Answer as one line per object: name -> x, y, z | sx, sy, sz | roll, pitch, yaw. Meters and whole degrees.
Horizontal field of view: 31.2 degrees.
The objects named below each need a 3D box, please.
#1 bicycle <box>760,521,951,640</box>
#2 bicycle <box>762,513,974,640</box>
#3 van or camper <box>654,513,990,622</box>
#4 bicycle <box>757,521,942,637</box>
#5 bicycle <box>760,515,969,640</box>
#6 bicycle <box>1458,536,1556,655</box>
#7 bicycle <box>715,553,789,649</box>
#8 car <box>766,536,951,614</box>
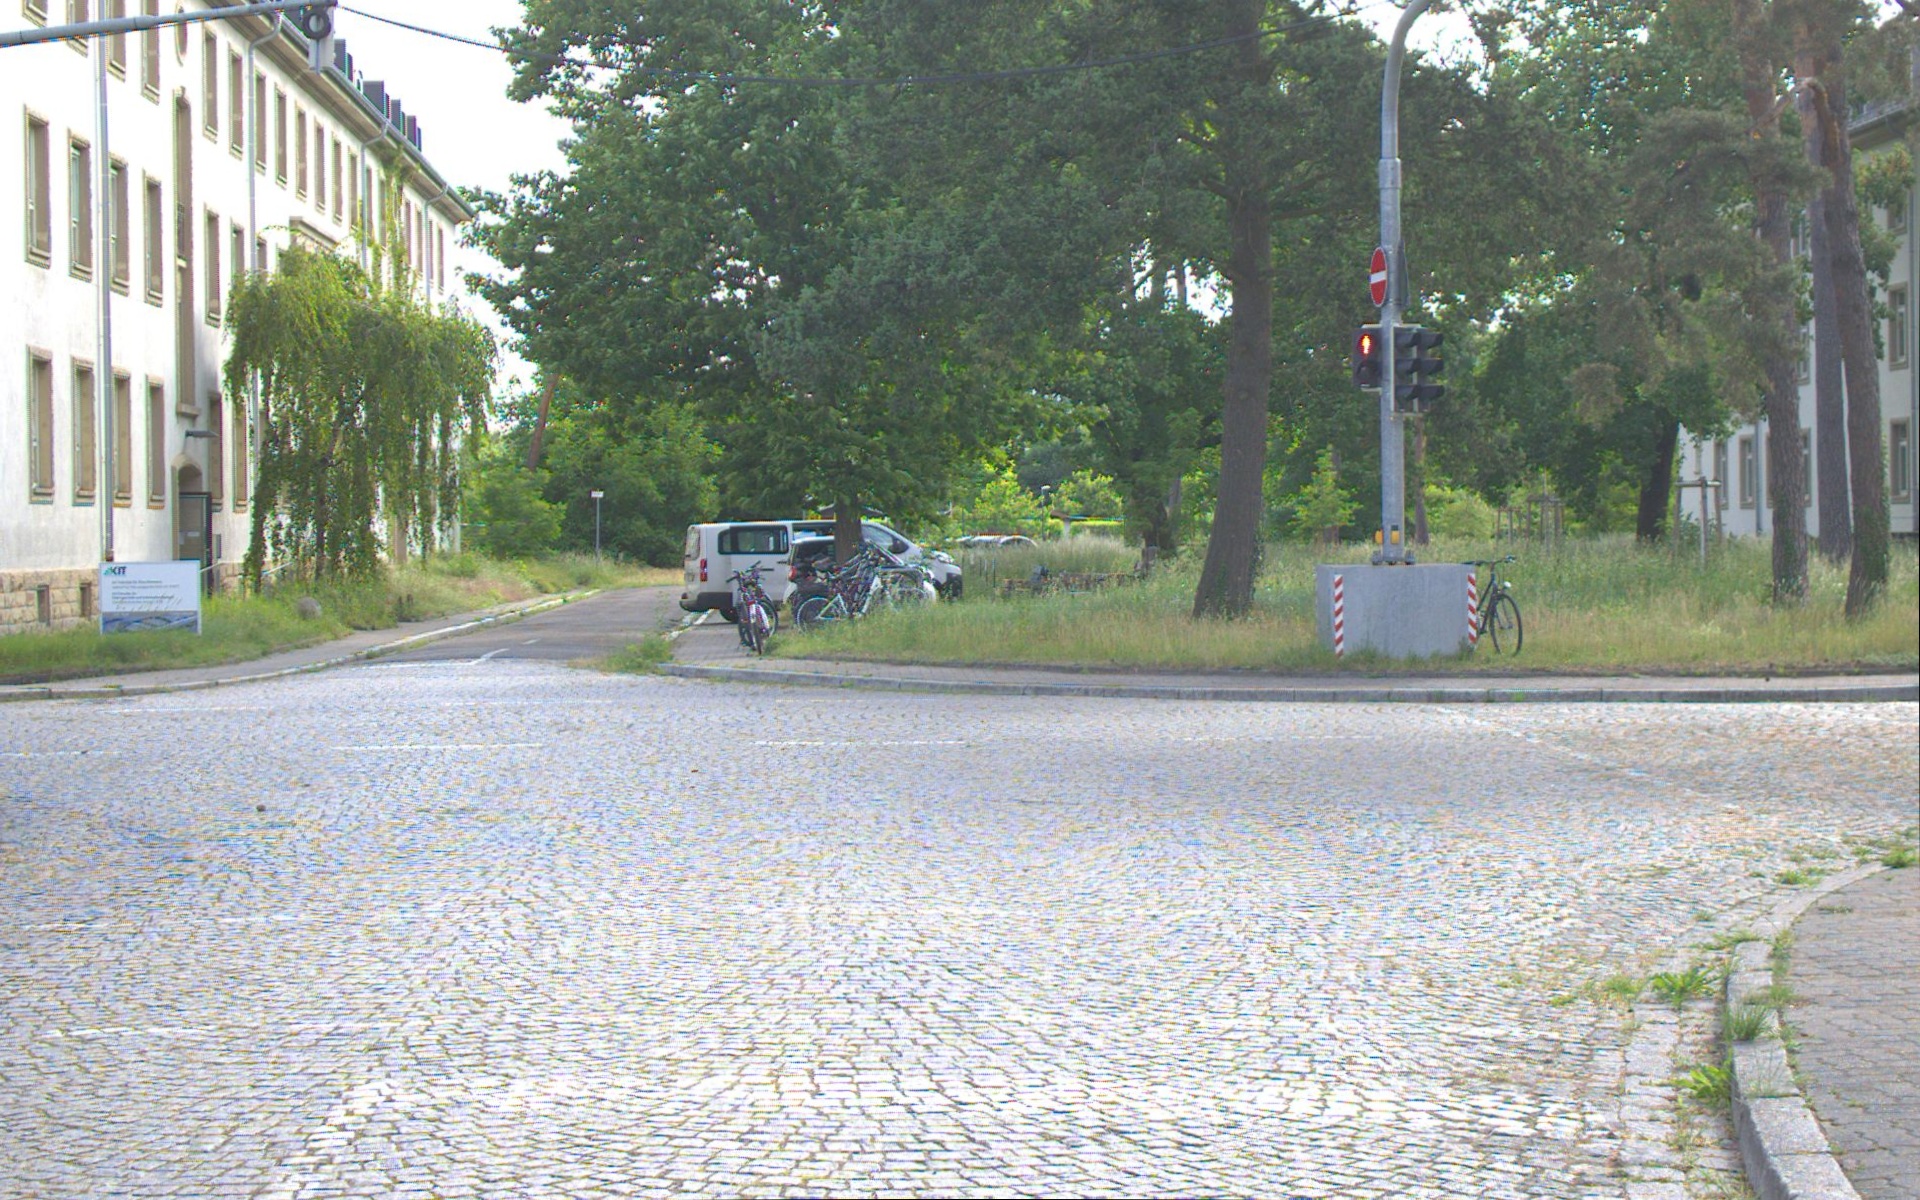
bicycle -> -1.559, -0.294, 51.739 | 2.775, 1.688, 1.120 | 2, 1, 2
bicycle -> -1.265, -0.331, 46.985 | 2.775, 1.688, 1.120 | -1, 1, -8
van or camper -> -2.613, -0.639, 64.919 | 6.030, 1.942, 2.001 | -1, 1, -16
bicycle -> -1.704, -0.332, 53.073 | 2.775, 1.688, 1.120 | 2, 1, -1
bicycle -> -1.344, -0.325, 48.178 | 2.775, 1.688, 1.120 | -1, 1, -10
bicycle -> 5.614, -0.066, 35.431 | 0.724, 1.165, 2.736 | 1, 1, 4
bicycle -> -2.569, -0.005, 42.659 | 0.725, 1.104, 2.462 | -5, 1, -1
car -> -1.822, -0.461, 61.370 | 3.137, 1.349, 1.620 | -1, 1, -8
